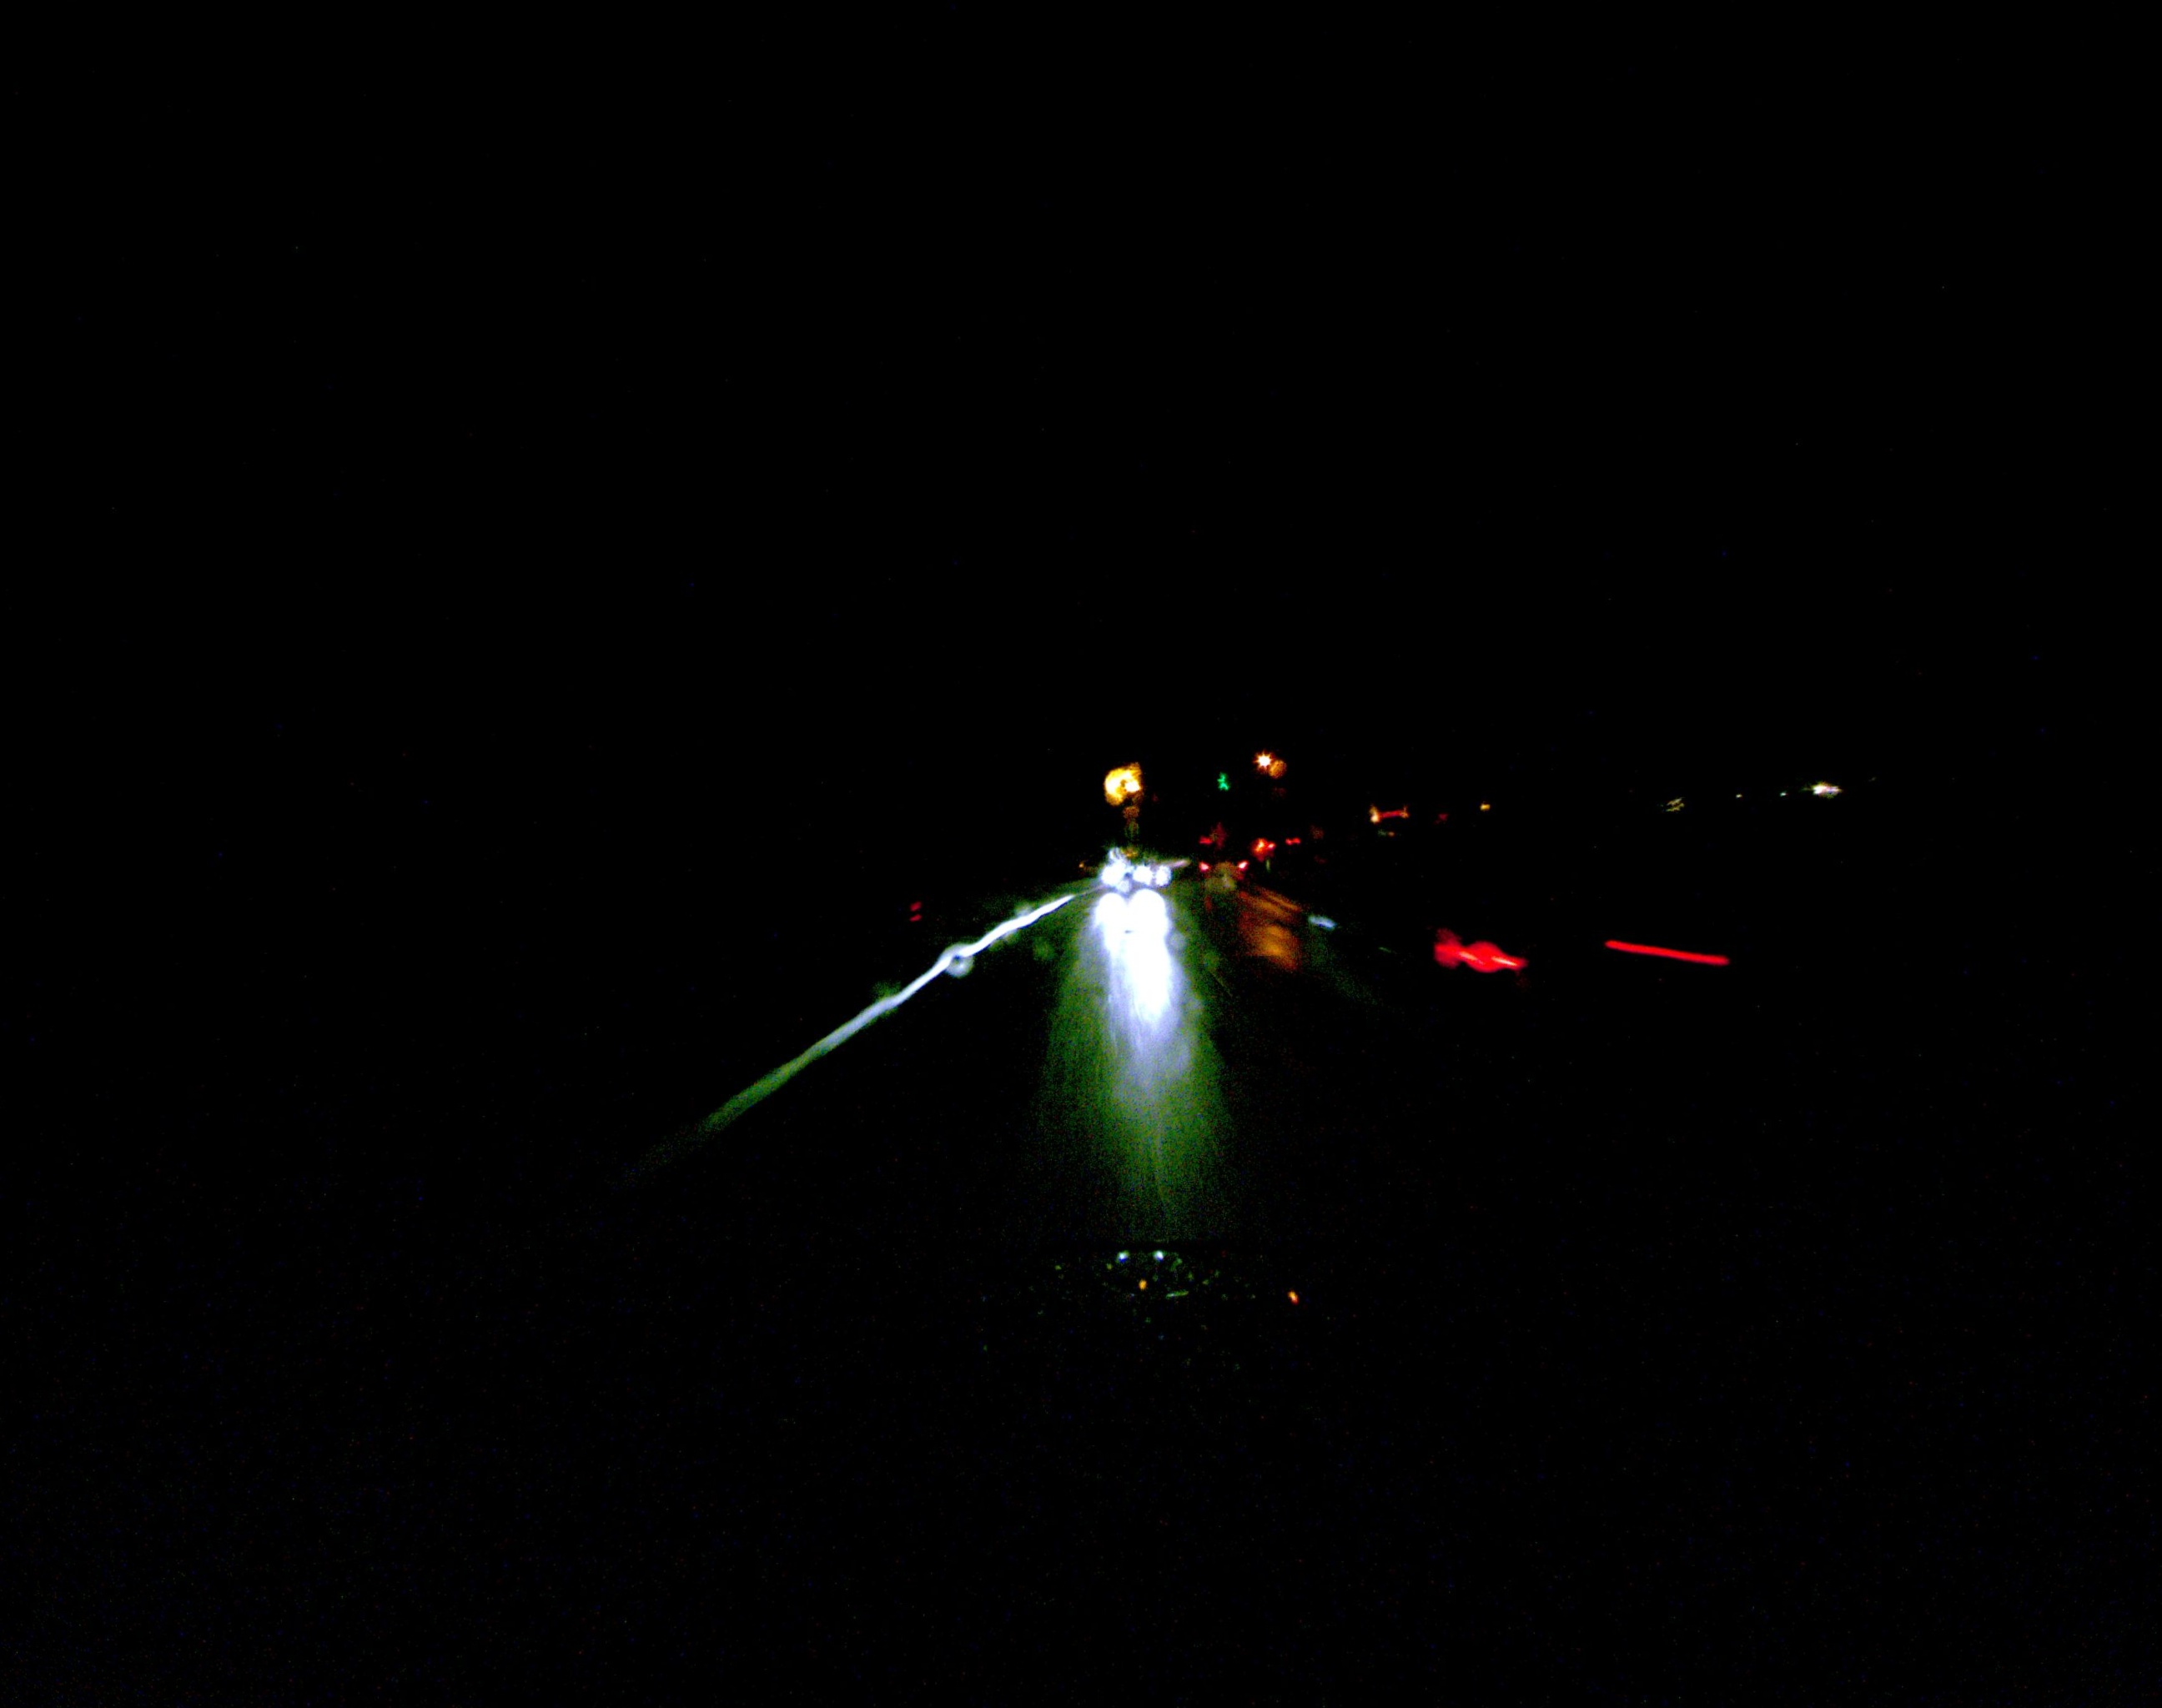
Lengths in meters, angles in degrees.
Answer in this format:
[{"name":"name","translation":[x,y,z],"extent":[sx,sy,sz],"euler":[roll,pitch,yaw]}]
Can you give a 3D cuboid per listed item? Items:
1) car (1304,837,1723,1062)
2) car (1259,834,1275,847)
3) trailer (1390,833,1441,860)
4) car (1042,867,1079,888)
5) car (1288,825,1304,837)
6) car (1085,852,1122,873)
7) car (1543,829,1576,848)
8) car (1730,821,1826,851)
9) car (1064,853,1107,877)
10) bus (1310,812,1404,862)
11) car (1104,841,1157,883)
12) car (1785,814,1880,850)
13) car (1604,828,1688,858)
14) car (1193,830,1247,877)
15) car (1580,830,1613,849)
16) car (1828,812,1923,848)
[{"name":"car","translation":[3.518,0.621,7.175],"extent":[1.639,1.501,4.095],"euler":[-1,1,0]},{"name":"car","translation":[22.822,-1.674,93.314],"extent":[1.637,1.502,4.122],"euler":[0,1,17]},{"name":"trailer","translation":[21.169,-0.478,48.298],"extent":[1.816,1.668,4.102],"euler":[0,1,6]},{"name":"car","translation":[-1.655,1.883,62.442],"extent":[1.636,1.502,3.681],"euler":[0,1,23]},{"name":"car","translation":[31.016,-3.318,109.567],"extent":[1.697,1.590,3.805],"euler":[-1,2,22]},{"name":"car","translation":[1.717,0.597,57.337],"extent":[1.637,1.390,3.680],"euler":[-2,1,21]},{"name":"car","translation":[44.650,-1.479,70.918],"extent":[1.855,1.391,4.045],"euler":[3,7,42]},{"name":"car","translation":[44.703,-1.185,48.860],"extent":[1.941,1.688,4.625],"euler":[-4,3,1]},{"name":"car","translation":[0.349,0.757,53.328],"extent":[1.676,1.557,3.807],"euler":[-2,0,21]},{"name":"bus","translation":[23.906,-1.535,66.957],"extent":[2.901,3.847,13.051],"euler":[-3,2,-2]},{"name":"car","translation":[2.258,0.339,33.911],"extent":[1.958,1.711,4.002],"euler":[-2,0,9]},{"name":"car","translation":[47.550,-1.450,48.193],"extent":[1.999,2.045,3.997],"euler":[-4,3,-2]},{"name":"car","translation":[36.318,-0.756,49.004],"extent":[1.941,1.688,4.625],"euler":[-4,3,1]},{"name":"car","translation":[6.600,-0.008,36.586],"extent":[1.998,2.001,4.848],"euler":[-4,-1,5]},{"name":"car","translation":[46.701,-1.318,68.774],"extent":[1.855,1.391,4.045],"euler":[3,7,42]},{"name":"car","translation":[50.122,-1.554,48.030],"extent":[1.763,2.045,3.997],"euler":[-4,3,-2]}]
